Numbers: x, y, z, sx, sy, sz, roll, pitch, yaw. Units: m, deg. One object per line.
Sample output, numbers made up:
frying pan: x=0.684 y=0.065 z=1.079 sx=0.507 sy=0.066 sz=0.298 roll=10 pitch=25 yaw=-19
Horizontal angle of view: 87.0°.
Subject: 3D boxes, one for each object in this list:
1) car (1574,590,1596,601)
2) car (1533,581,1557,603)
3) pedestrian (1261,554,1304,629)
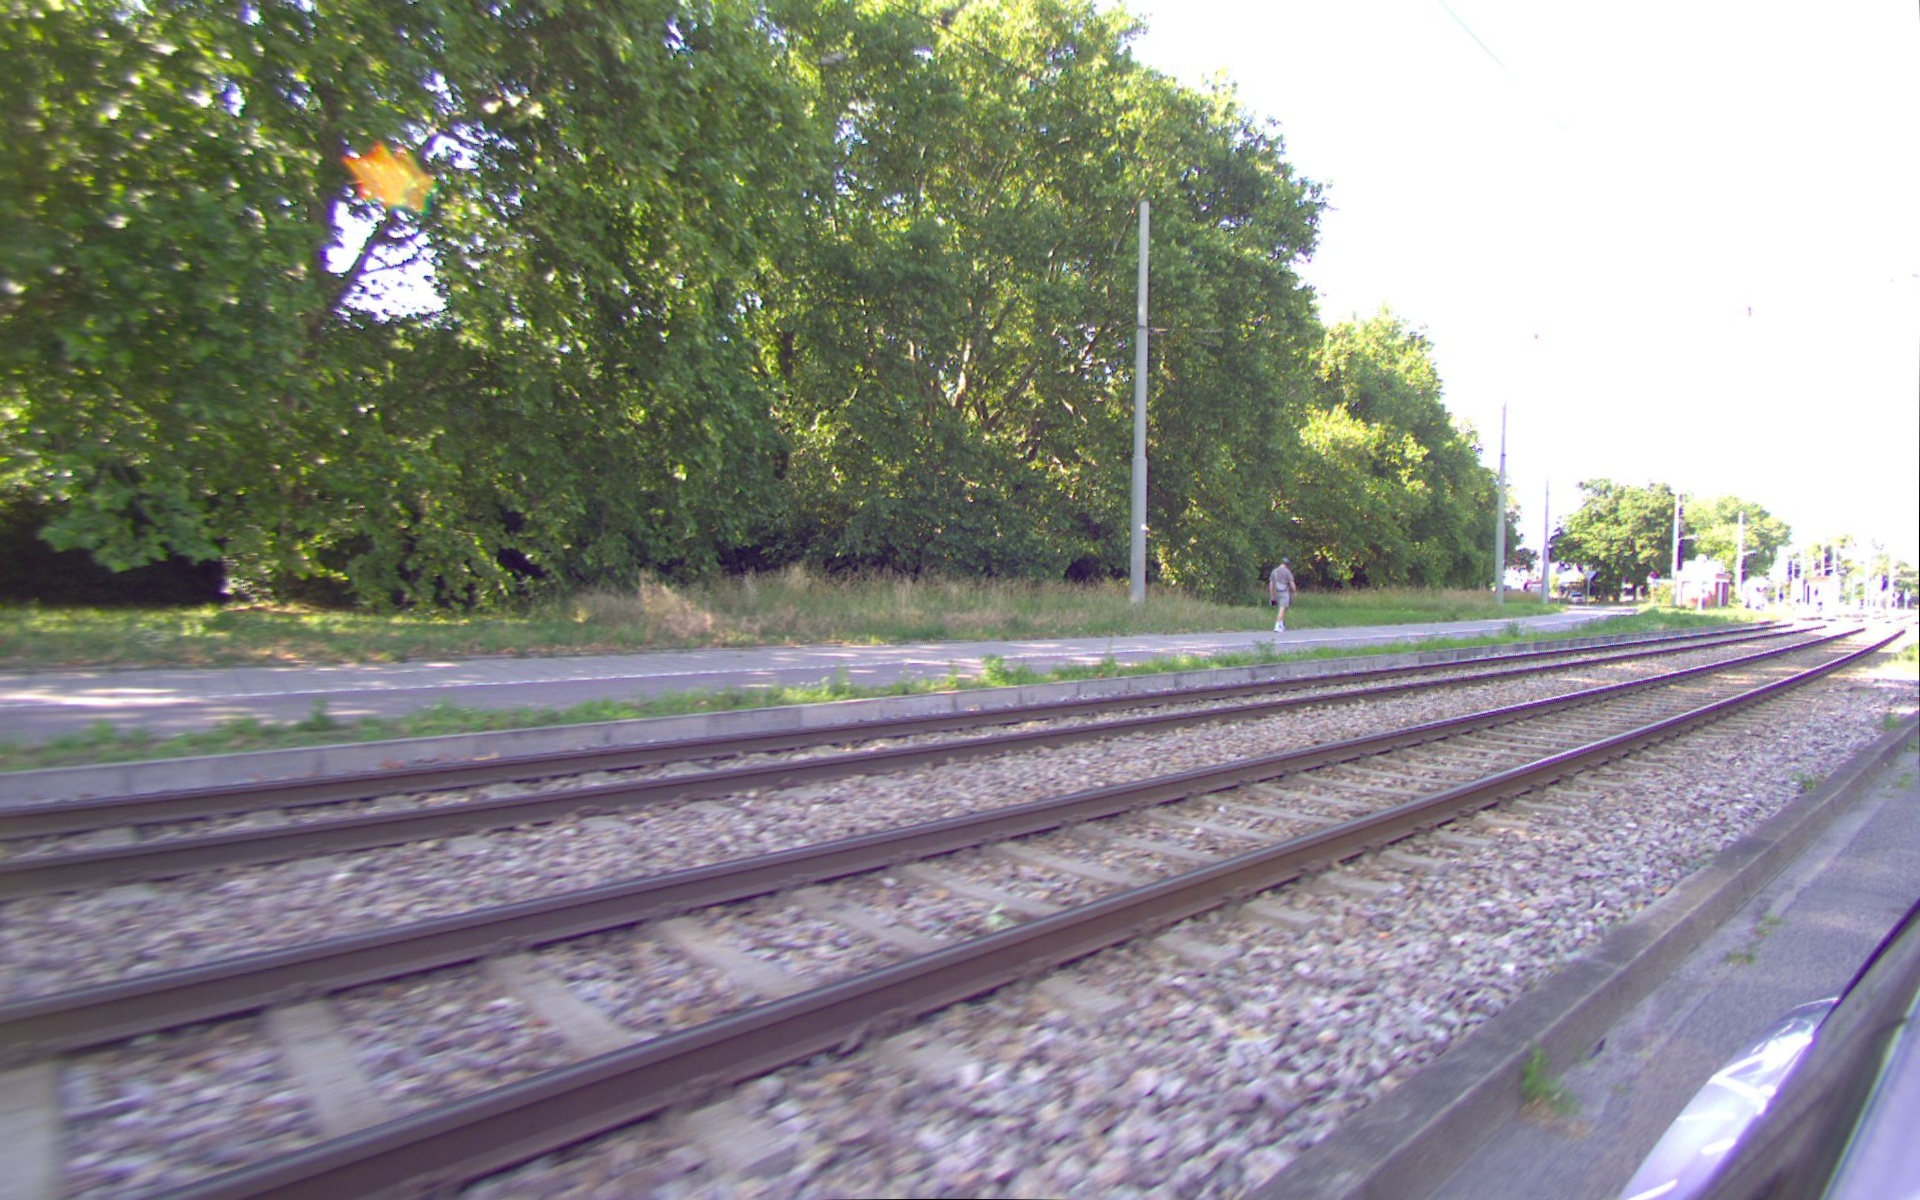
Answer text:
car: x=86.756 y=-0.608 z=140.516 sx=1.785 sy=1.409 sz=3.760 roll=2 pitch=2 yaw=20
car: x=70.041 y=-0.968 z=121.220 sx=1.838 sy=2.552 sz=3.833 roll=-1 pitch=0 yaw=21
pedestrian: x=7.576 y=-0.197 z=23.766 sx=0.869 sy=1.737 sz=0.502 roll=1 pitch=1 yaw=-36
